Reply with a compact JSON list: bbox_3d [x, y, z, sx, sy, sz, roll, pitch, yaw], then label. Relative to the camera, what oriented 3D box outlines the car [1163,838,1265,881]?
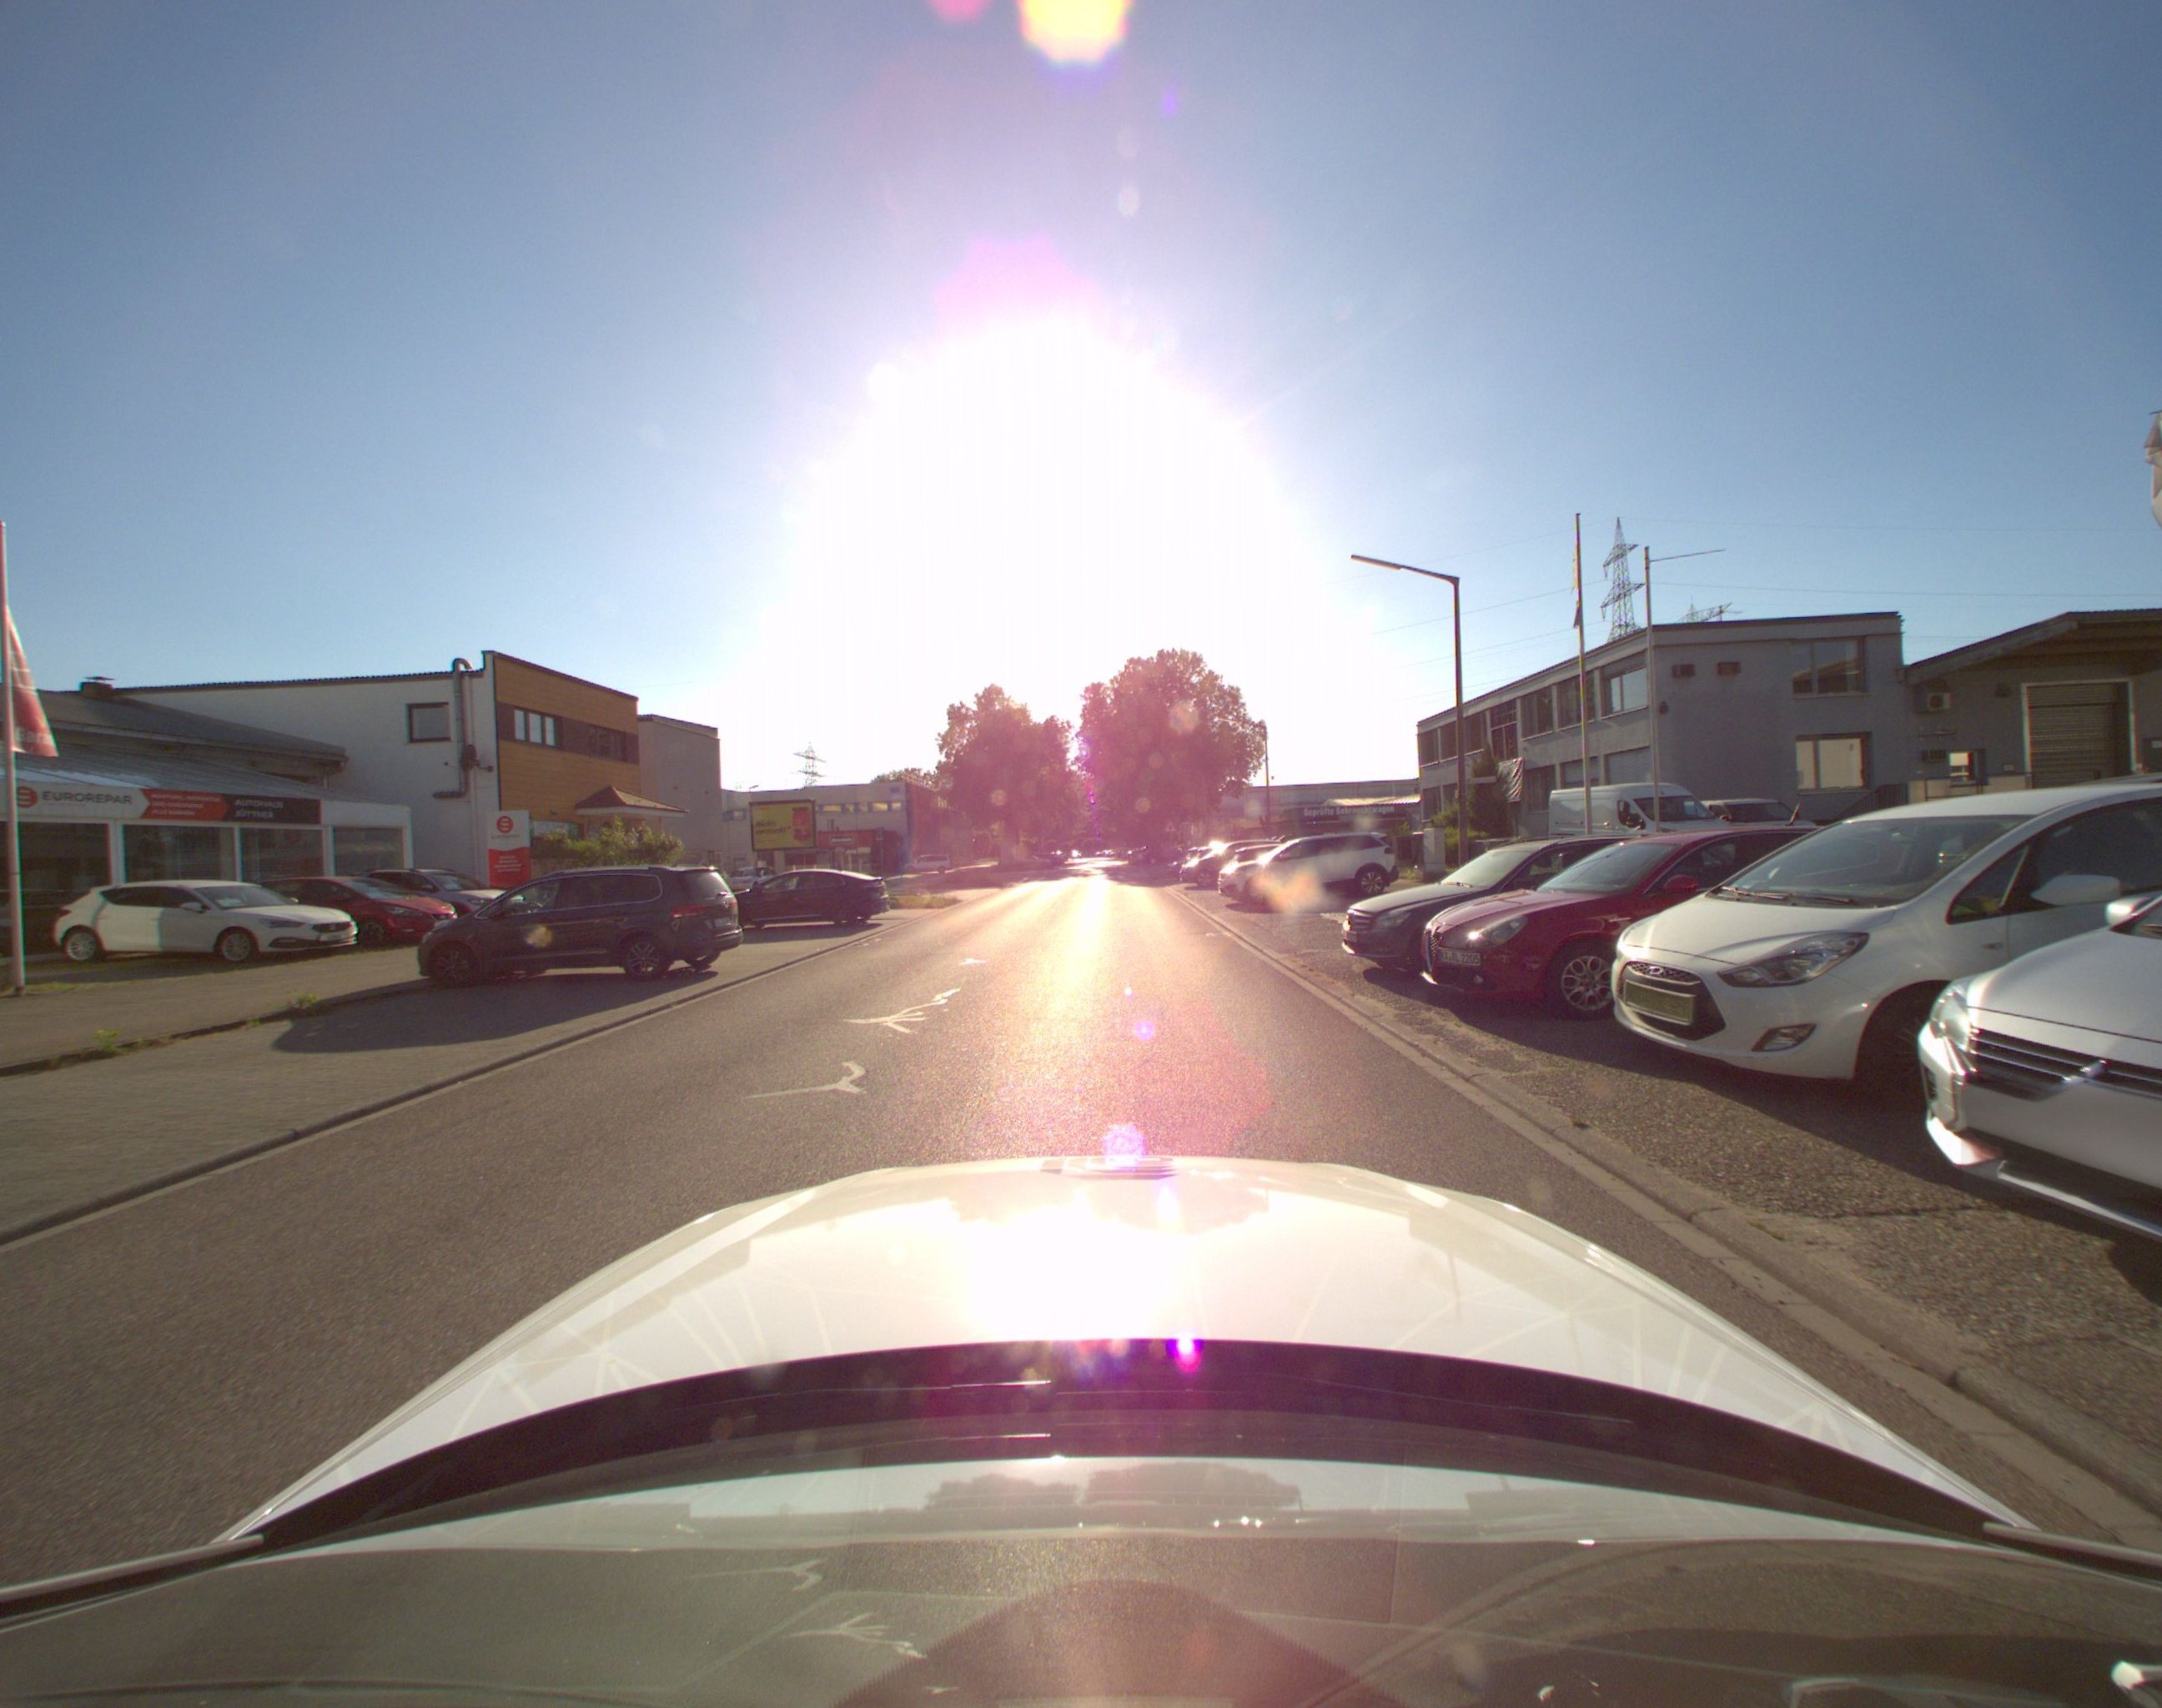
[{"bbox_3d":[6.408,0.256,39.468,4.512,1.672,1.752,-5,0,-2],"label":"car"}]

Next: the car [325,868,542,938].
[{"bbox_3d":[-16.101,1.187,20.387,3.896,1.555,1.888,-1,0,1],"label":"car"}]

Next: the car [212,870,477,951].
[{"bbox_3d":[-16.015,1.189,17.879,3.972,1.555,2.001,-1,0,1],"label":"car"}]

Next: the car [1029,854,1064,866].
[{"bbox_3d":[-4.453,0.798,105.855,4.397,1.517,2.002,-1,0,3],"label":"car"}]

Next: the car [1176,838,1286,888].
[{"bbox_3d":[5.793,0.351,31.689,3.964,1.613,2.005,-4,-1,8],"label":"car"}]

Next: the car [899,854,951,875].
[{"bbox_3d":[-14.552,0.967,76.024,4.636,1.741,1.990,-1,0,-15],"label":"car"}]

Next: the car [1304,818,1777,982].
[{"bbox_3d":[5.215,0.490,9.796,4.422,1.436,2.136,-4,0,1],"label":"car"}]

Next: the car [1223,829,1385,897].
[{"bbox_3d":[6.540,0.262,24.264,4.234,1.623,1.921,-4,0,0],"label":"car"}]

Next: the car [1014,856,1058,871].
[{"bbox_3d":[-4.555,0.987,82.391,4.406,1.403,1.997,-1,0,-4],"label":"car"}]

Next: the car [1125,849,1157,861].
[{"bbox_3d":[7.690,0.141,104.083,3.972,1.381,1.827,-3,0,1],"label":"car"}]

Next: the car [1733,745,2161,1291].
[{"bbox_3d":[5.202,0.376,2.915,4.099,1.618,2.057,-3,0,-2],"label":"car"}]

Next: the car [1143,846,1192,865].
[{"bbox_3d":[7.337,0.122,69.693,3.972,1.415,2.001,-3,0,1],"label":"car"}]

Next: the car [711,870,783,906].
[{"bbox_3d":[-18.357,1.833,44.985,1.986,1.576,4.343,-1,2,2],"label":"car"}]

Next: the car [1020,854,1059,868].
[{"bbox_3d":[-4.831,0.766,95.110,4.397,1.517,2.002,-1,0,3],"label":"car"}]

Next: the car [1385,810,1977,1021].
[{"bbox_3d":[5.241,0.491,7.499,4.232,1.605,1.744,-1,0,-3],"label":"car"}]

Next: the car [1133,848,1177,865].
[{"bbox_3d":[6.972,0.224,77.221,3.972,1.415,1.827,-3,0,1],"label":"car"}]

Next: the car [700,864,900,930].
[{"bbox_3d":[-7.042,1.053,20.816,4.301,1.460,2.201,-1,0,-2],"label":"car"}]

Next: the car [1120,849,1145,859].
[{"bbox_3d":[8.343,0.016,132.704,3.972,1.415,1.827,-3,0,1],"label":"car"}]

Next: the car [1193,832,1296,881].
[{"bbox_3d":[6.918,0.096,34.729,3.972,1.652,1.802,-6,0,2],"label":"car"}]

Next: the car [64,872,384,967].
[{"bbox_3d":[-16.088,1.185,15.466,3.972,1.555,2.001,-1,0,1],"label":"car"}]

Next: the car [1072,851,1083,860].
[{"bbox_3d":[-0.601,0.238,153.213,1.986,1.608,4.002,0,0,2],"label":"car"}]

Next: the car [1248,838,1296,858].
[{"bbox_3d":[17.598,-0.552,75.282,3.973,1.700,2.000,-1,0,0],"label":"car"}]

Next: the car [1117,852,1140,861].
[{"bbox_3d":[8.480,0.496,144.677,3.972,1.415,1.827,-3,0,1],"label":"car"}]

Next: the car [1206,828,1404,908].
[{"bbox_3d":[5.833,0.349,21.649,4.542,1.597,2.201,-5,0,-2],"label":"car"}]

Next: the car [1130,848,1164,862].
[{"bbox_3d":[7.951,0.100,98.095,3.972,1.415,1.827,-3,0,1],"label":"car"}]

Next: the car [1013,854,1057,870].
[{"bbox_3d":[-4.707,0.816,84.605,4.401,1.517,2.000,-1,0,0],"label":"car"}]

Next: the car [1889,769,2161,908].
[{"bbox_3d":[15.061,-0.296,12.035,4.129,1.771,2.001,-4,0,1],"label":"car"}]

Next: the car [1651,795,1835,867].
[{"bbox_3d":[18.416,-0.595,22.936,1.986,1.799,4.001,-1,0,2],"label":"car"}]

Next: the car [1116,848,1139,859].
[{"bbox_3d":[8.476,-0.163,148.685,3.972,1.777,1.827,-3,0,1],"label":"car"}]

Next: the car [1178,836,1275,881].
[{"bbox_3d":[6.544,0.208,36.909,3.975,1.652,1.742,-5,0,-1],"label":"car"}]

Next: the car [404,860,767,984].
[{"bbox_3d":[-7.439,0.967,12.650,4.219,1.655,2.201,-1,0,-2],"label":"car"}]

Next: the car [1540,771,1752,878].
[{"bbox_3d":[15.946,-0.736,23.562,1.986,2.625,6.139,-1,0,2],"label":"car"}]

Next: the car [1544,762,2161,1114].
[{"bbox_3d":[5.505,0.399,5.148,4.098,1.740,1.882,-1,0,-3],"label":"car"}]
